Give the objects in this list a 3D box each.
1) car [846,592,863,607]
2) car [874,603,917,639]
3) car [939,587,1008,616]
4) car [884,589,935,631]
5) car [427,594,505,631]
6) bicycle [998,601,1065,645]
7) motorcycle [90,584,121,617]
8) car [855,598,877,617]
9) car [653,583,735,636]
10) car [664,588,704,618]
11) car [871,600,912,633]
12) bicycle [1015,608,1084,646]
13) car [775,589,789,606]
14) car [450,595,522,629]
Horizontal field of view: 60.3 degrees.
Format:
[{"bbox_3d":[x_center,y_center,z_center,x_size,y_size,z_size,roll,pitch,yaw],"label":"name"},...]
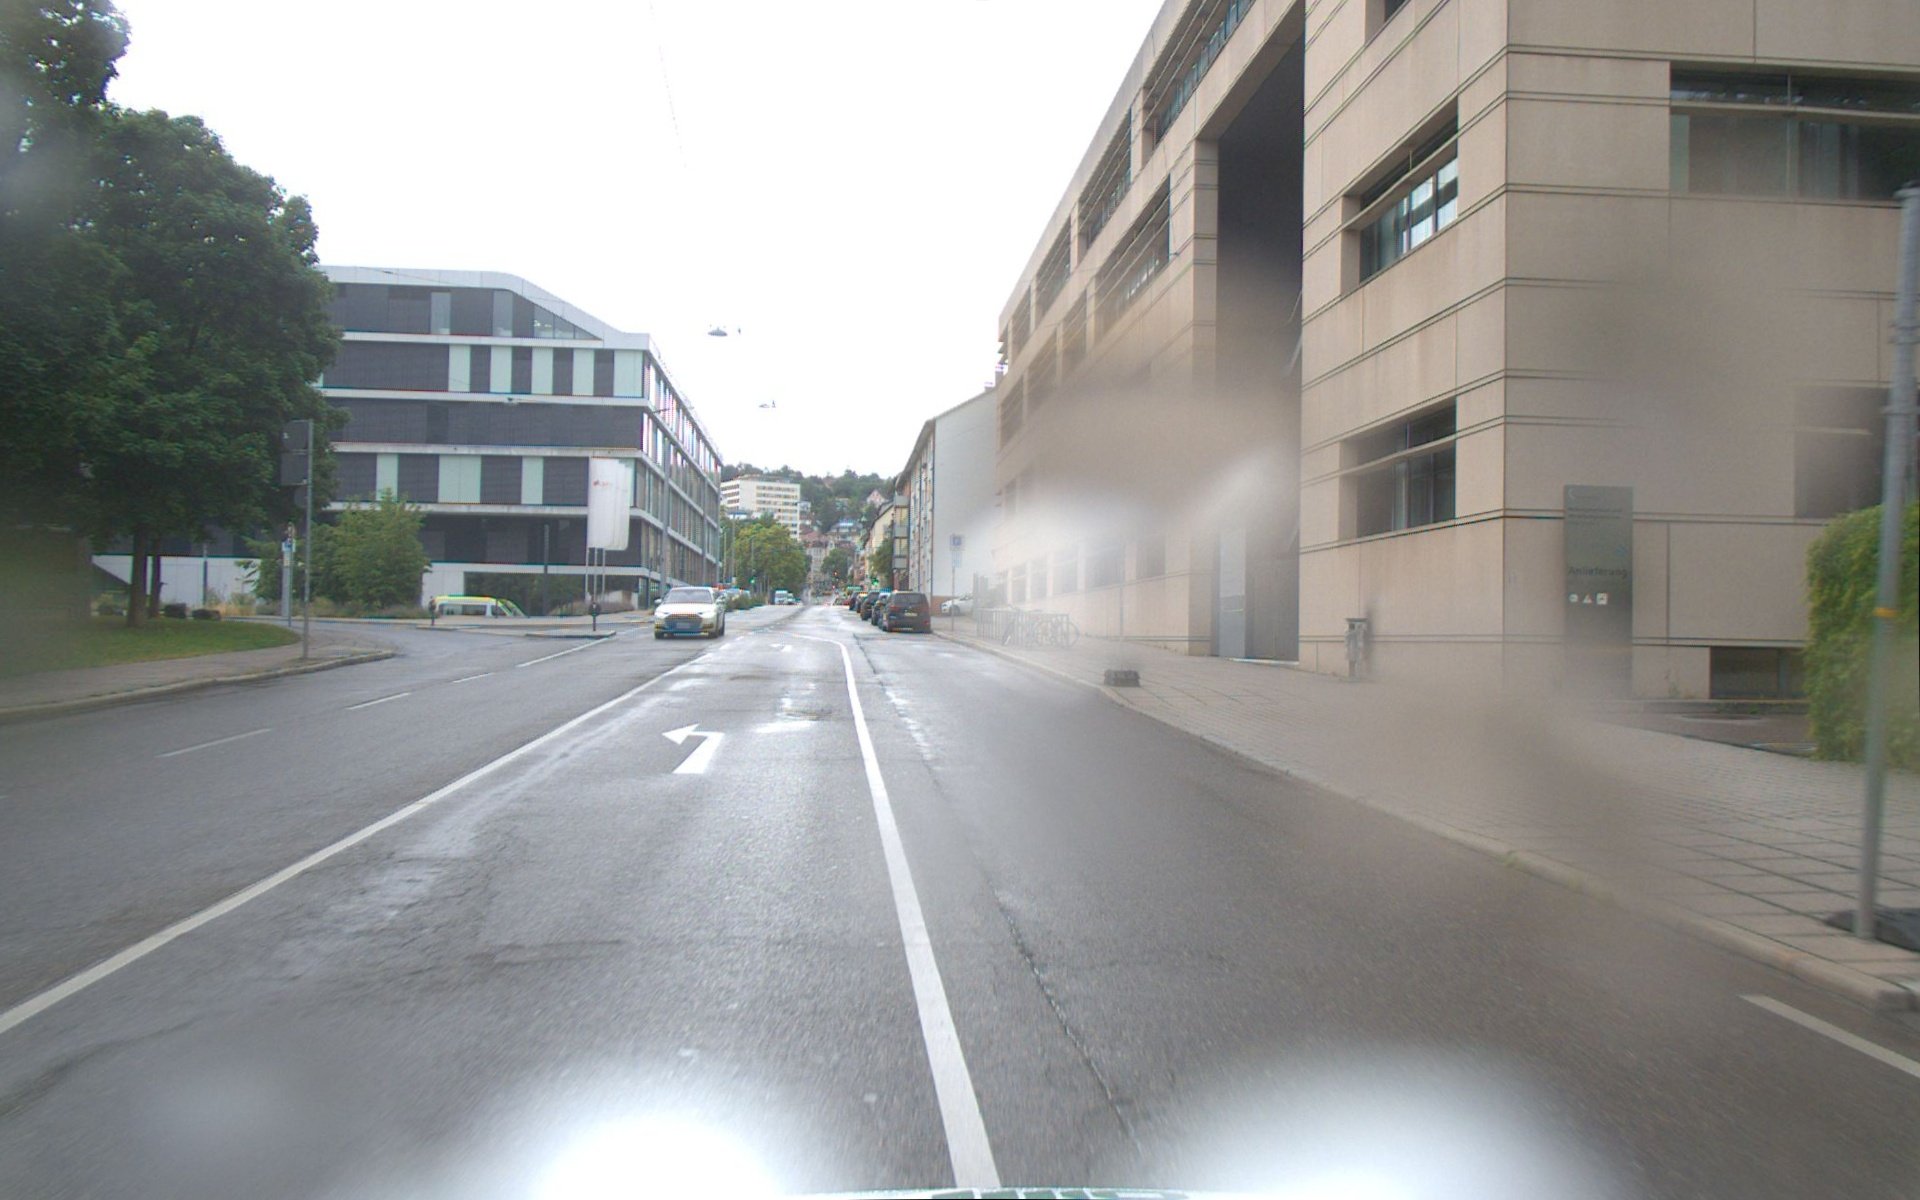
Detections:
[{"bbox_3d":[-13.127,-0.059,206.104,1.829,1.801,4.187,2,-1,-2],"label":"car"},{"bbox_3d":[-2.971,0.960,75.571,1.692,1.539,4.053,3,-1,-5],"label":"car"},{"bbox_3d":[0.898,0.123,109.096,4.352,1.742,1.903,-2,0,-6],"label":"car"},{"bbox_3d":[-2.083,0.395,67.364,1.737,1.632,4.389,2,0,-6],"label":"car"},{"bbox_3d":[-31.382,0.783,105.188,4.507,2.212,1.926,2,-1,-11],"label":"car"},{"bbox_3d":[1.941,0.620,44.770,1.698,1.138,0.658,1,-1,-10],"label":"bicycle"},{"bbox_3d":[-29.477,0.018,57.062,1.145,1.145,0.412,0,-2,33],"label":"motorcycle"},{"bbox_3d":[-7.621,0.606,134.183,1.673,1.480,3.980,2,0,-5],"label":"car"},{"bbox_3d":[-8.152,0.245,51.135,1.844,1.517,5.217,-1,1,-2],"label":"car"},{"bbox_3d":[-15.703,0.172,94.212,1.813,1.646,4.486,2,0,-5],"label":"car"},{"bbox_3d":[-3.454,0.795,82.723,1.709,1.560,4.314,2,0,-6],"label":"car"},{"bbox_3d":[2.363,0.708,43.824,1.725,0.970,0.658,1,-1,-8],"label":"bicycle"},{"bbox_3d":[-28.006,-0.418,260.595,2.065,2.591,4.743,2,-1,-7],"label":"car"},{"bbox_3d":[-31.316,0.800,109.285,4.257,2.068,1.596,2,-1,-5],"label":"car"}]
